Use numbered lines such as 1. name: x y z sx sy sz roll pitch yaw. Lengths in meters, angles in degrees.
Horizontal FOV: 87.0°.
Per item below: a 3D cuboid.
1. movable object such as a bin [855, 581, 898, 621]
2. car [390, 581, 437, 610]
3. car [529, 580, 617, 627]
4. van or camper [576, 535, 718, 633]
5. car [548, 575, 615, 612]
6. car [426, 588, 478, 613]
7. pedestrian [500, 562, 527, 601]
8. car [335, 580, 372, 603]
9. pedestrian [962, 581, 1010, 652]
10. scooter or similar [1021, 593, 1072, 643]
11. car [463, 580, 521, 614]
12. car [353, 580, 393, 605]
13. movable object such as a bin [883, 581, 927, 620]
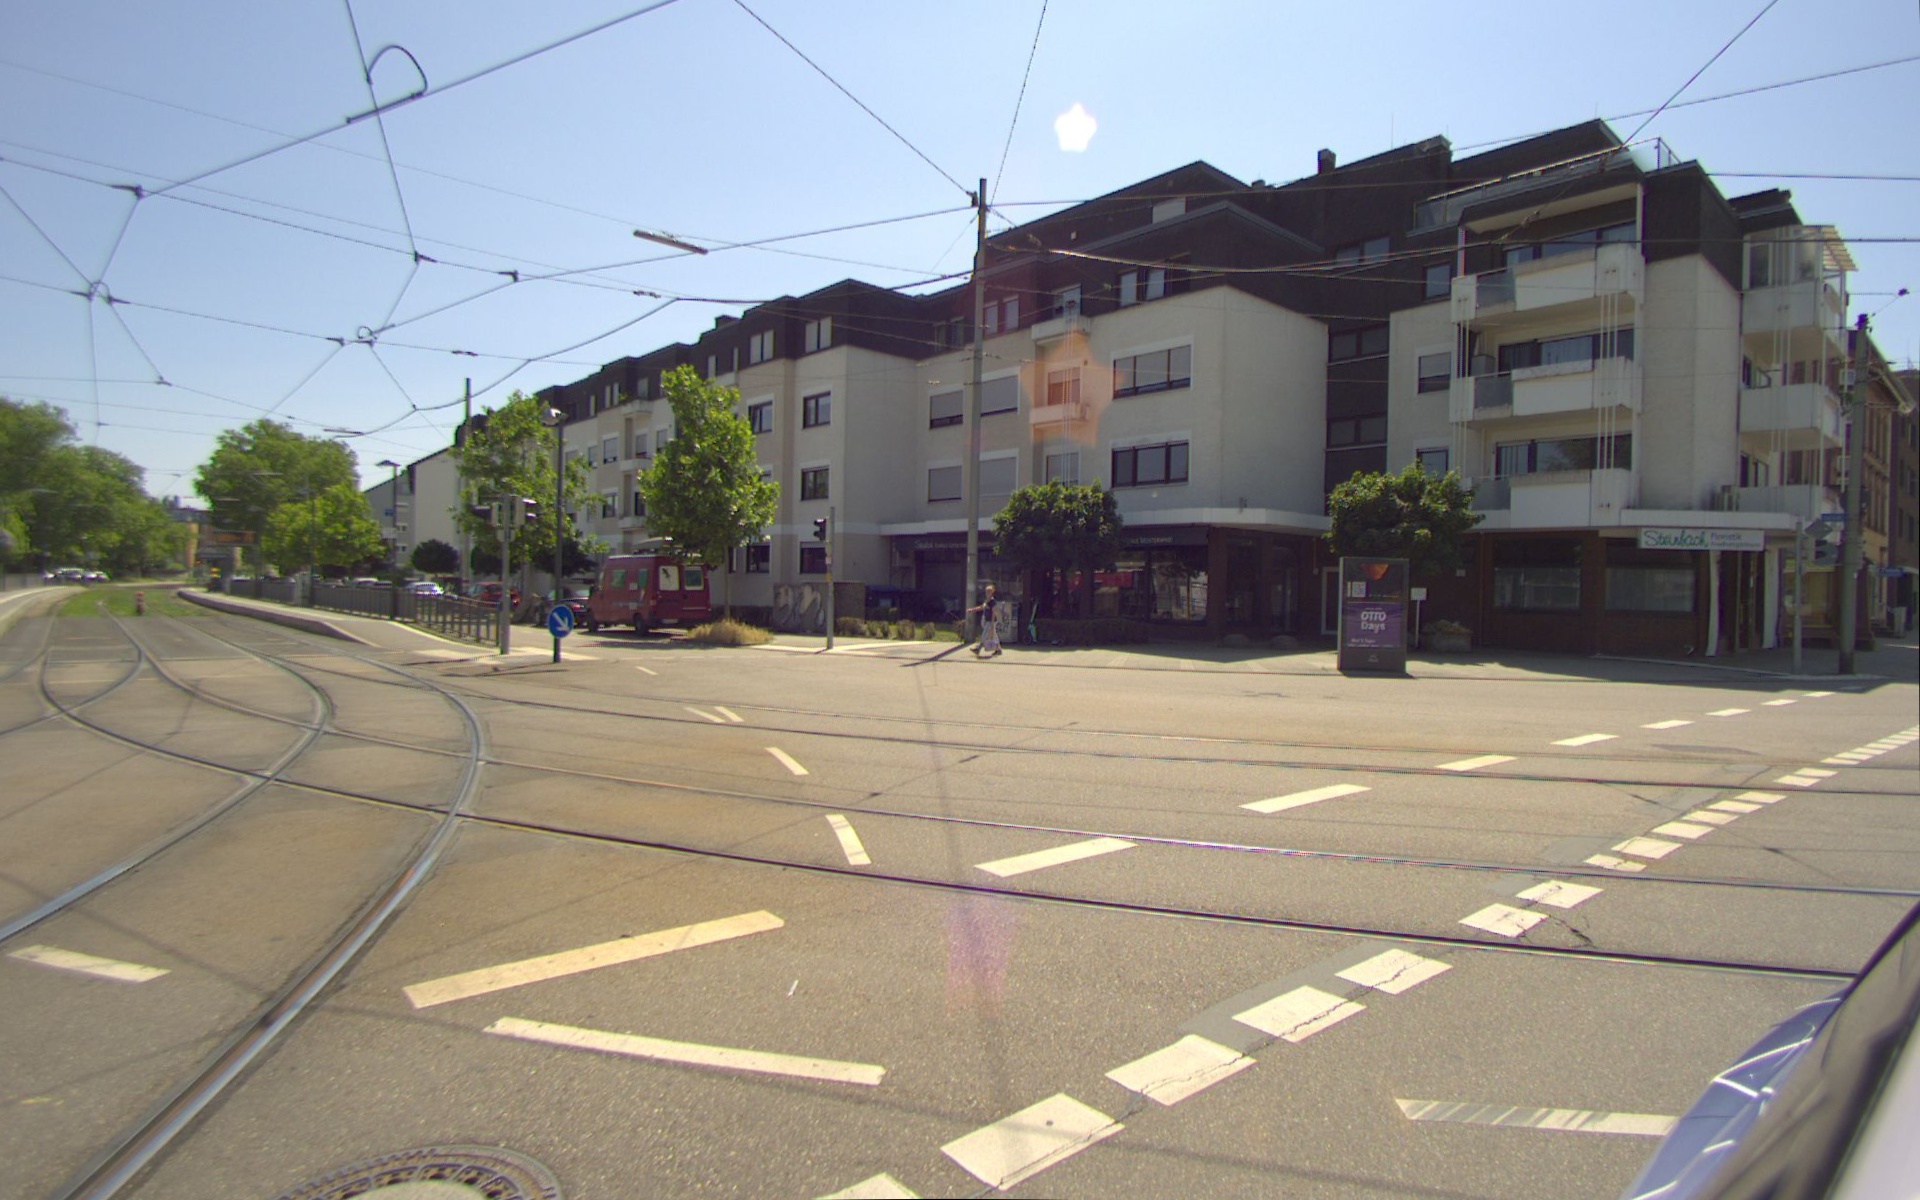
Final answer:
1. movable object such as a bin: -3.052 0.043 37.104 1.174 1.424 1.057 1 0 -43
2. car: -27.884 -0.245 51.562 1.426 1.371 3.358 1 0 -40
3. car: -13.790 0.099 35.962 1.650 1.567 3.799 1 1 -42
4. van or camper: -9.819 -0.488 31.487 2.170 2.800 5.230 1 0 -42
5. car: -17.287 -0.298 46.164 1.625 1.629 3.645 0 1 -42
6. car: -24.114 0.023 47.979 1.426 1.094 3.358 1 0 -40
7. pedestrian: -21.847 -0.898 49.558 0.911 1.854 1.074 1 0 -42
8. car: -37.624 -0.552 62.782 1.426 1.371 3.358 0 1 -40
9. pedestrian: 0.589 0.377 23.348 0.809 1.603 0.830 1 0 -25
10. scooter or similar: 2.190 0.452 25.681 1.241 1.228 0.391 1 0 23
11. car: -20.245 -0.162 43.710 1.426 1.398 3.358 0 1 -40
12. car: -34.164 -0.438 58.841 1.426 1.371 3.358 1 0 -40
13. movable object such as a bin: -2.069 -0.006 37.769 1.045 1.424 1.320 1 0 -43
